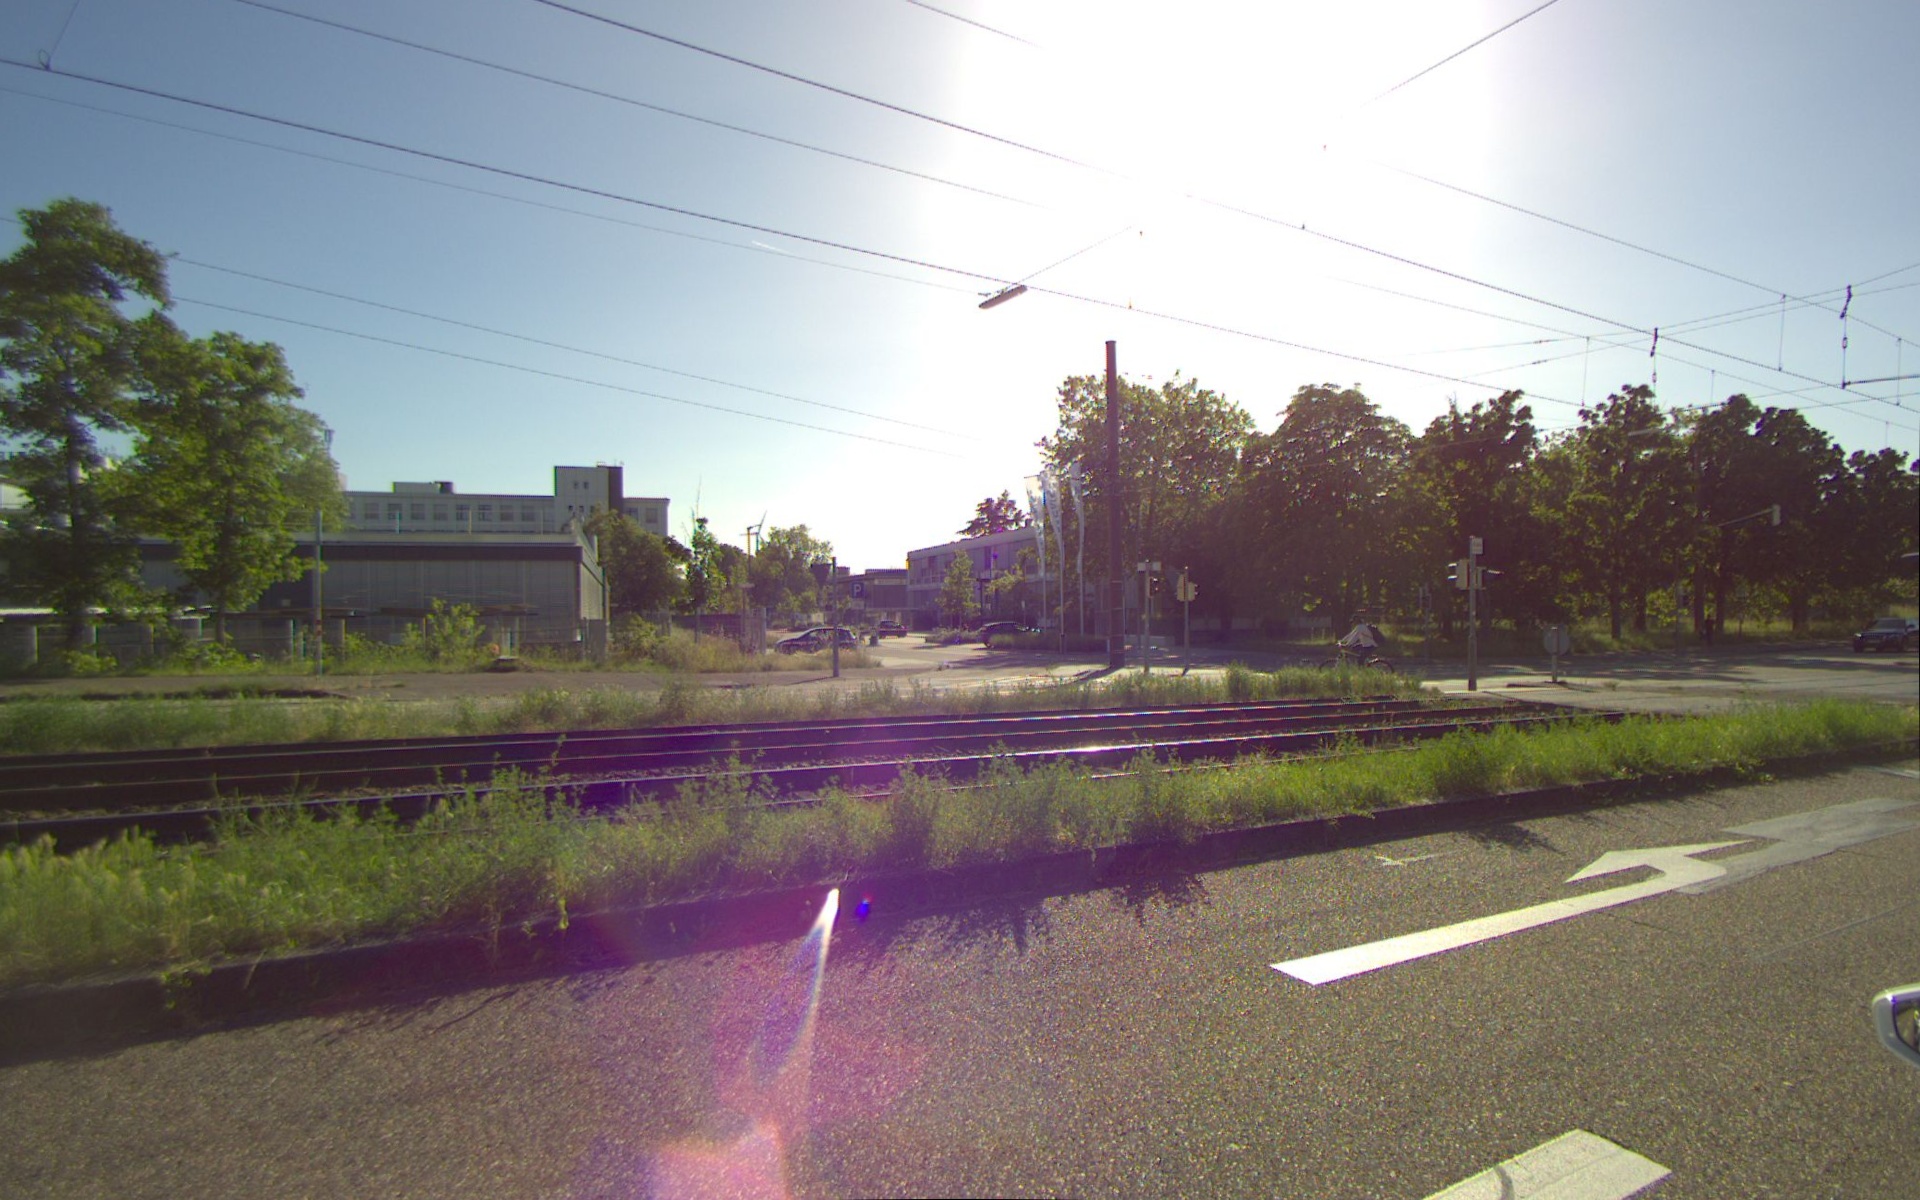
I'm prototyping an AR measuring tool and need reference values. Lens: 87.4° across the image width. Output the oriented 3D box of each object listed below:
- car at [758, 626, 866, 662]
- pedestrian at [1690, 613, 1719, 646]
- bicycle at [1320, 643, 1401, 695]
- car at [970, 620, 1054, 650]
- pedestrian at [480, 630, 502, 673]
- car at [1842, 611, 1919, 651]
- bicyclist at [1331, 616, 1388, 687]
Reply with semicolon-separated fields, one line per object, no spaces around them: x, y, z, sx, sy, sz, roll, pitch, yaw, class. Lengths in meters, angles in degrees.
-7.672;2.253;51.924;5.210;1.772;2.164;1;0;-19;car
39.362;1.546;53.114;0.919;1.757;0.761;0;0;-2;pedestrian
9.471;1.621;23.814;1.746;1.117;0.699;1;0;21;bicycle
3.207;2.133;61.718;4.768;1.751;2.041;1;0;-21;car
-14.695;1.605;31.472;0.432;1.318;0.441;0;0;18;pedestrian
45.176;1.497;48.869;4.739;1.834;2.082;0;-2;-32;car
9.464;1.197;23.807;1.212;1.614;0.805;1;0;21;bicyclist
